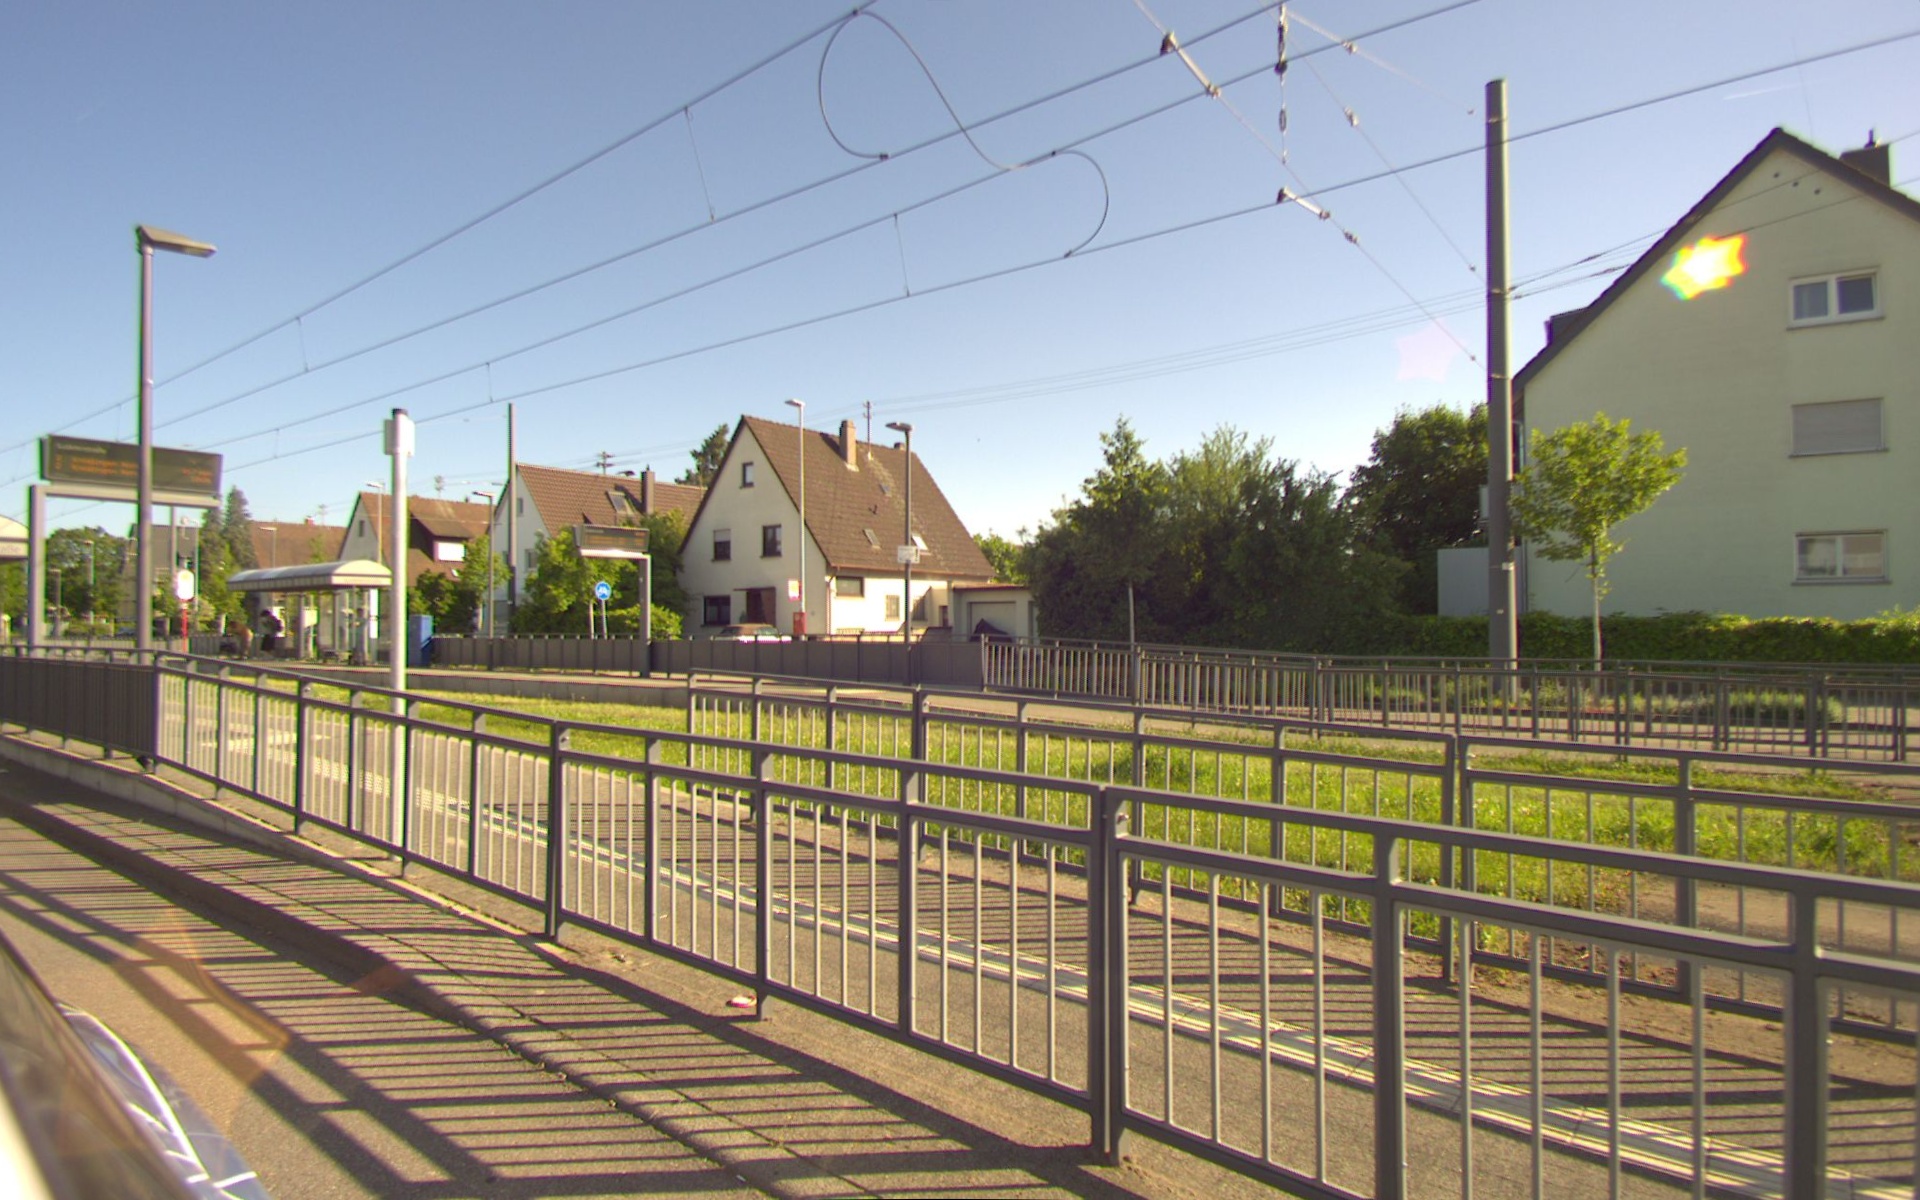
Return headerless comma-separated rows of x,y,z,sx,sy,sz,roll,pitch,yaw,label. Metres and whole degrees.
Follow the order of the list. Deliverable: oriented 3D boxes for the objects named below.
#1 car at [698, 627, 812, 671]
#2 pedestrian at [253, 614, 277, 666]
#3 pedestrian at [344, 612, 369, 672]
-7.637,1.795,37.949,1.995,1.547,3.944,-2,-2,35,car
-23.587,1.352,34.331,0.542,1.766,0.528,-2,-2,38,pedestrian
-17.912,1.240,30.025,0.612,1.766,0.443,1,-2,-32,pedestrian
